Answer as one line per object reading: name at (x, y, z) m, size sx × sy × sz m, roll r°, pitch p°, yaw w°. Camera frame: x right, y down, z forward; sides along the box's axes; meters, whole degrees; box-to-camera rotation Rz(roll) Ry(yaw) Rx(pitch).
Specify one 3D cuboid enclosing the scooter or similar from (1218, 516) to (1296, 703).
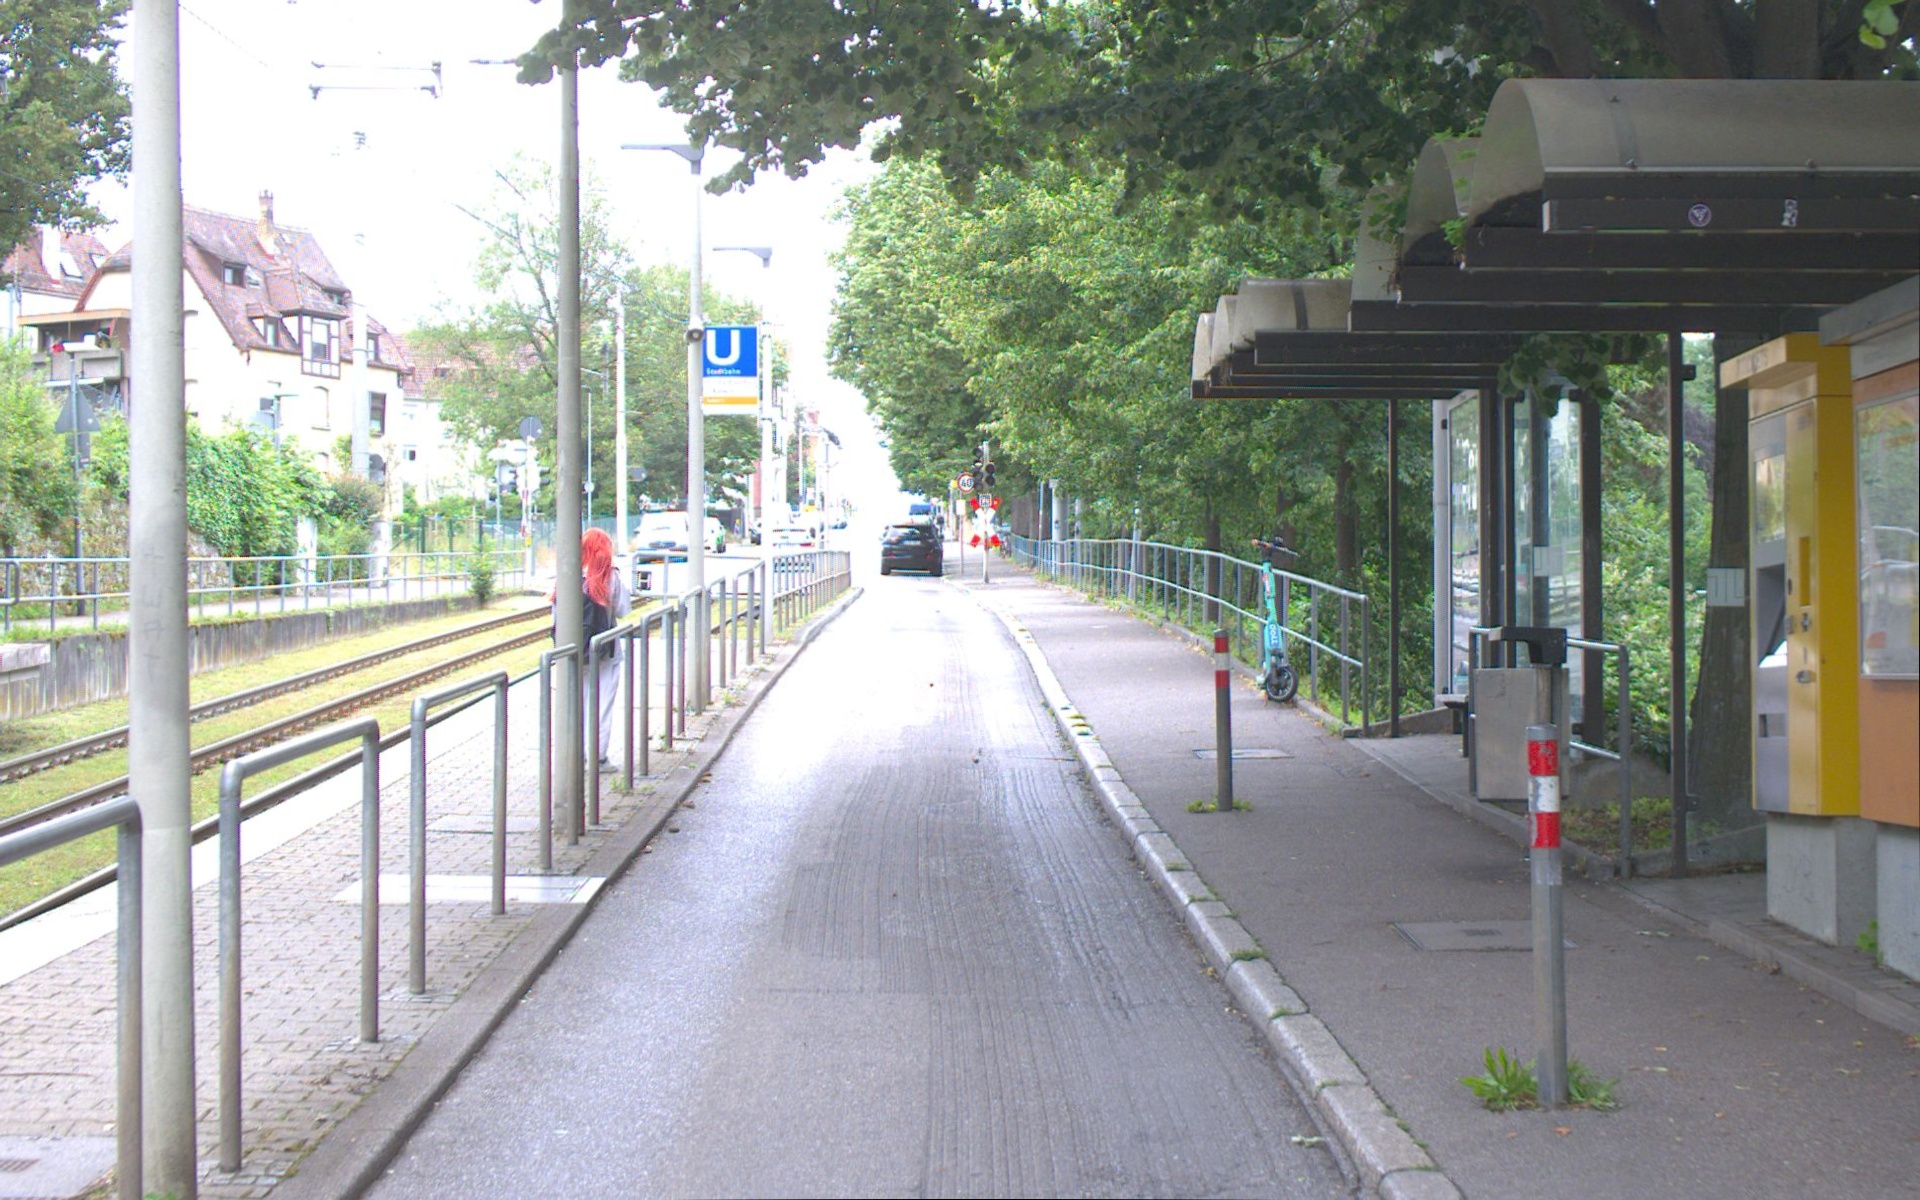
scooter or similar at (2.253, 0.063, 26.154) m, size 0.430 × 1.380 × 1.455 m, roll 1°, pitch 0°, yaw -1°

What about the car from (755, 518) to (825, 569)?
car at (-5.217, -1.731, 106.065) m, size 1.993 × 1.493 × 4.312 m, roll 1°, pitch 1°, yaw -1°

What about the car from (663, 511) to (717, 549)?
car at (-11.205, -2.908, 143.026) m, size 1.885 × 1.521 × 4.664 m, roll -1°, pitch 1°, yaw -1°

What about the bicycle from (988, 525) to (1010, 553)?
bicycle at (1.392, -2.167, 122.419) m, size 0.427 × 0.972 × 1.795 m, roll 1°, pitch 1°, yaw -10°

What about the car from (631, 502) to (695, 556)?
car at (-11.085, -2.630, 128.710) m, size 2.035 × 1.875 × 4.886 m, roll -2°, pitch 1°, yaw -2°

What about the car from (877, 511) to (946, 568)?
car at (-1.426, -1.829, 103.048) m, size 1.904 × 1.609 × 4.600 m, roll 2°, pitch 1°, yaw 1°

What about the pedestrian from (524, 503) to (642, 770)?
pedestrian at (-2.177, 0.199, 19.910) m, size 0.624 × 1.497 × 0.739 m, roll 1°, pitch 2°, yaw -4°
